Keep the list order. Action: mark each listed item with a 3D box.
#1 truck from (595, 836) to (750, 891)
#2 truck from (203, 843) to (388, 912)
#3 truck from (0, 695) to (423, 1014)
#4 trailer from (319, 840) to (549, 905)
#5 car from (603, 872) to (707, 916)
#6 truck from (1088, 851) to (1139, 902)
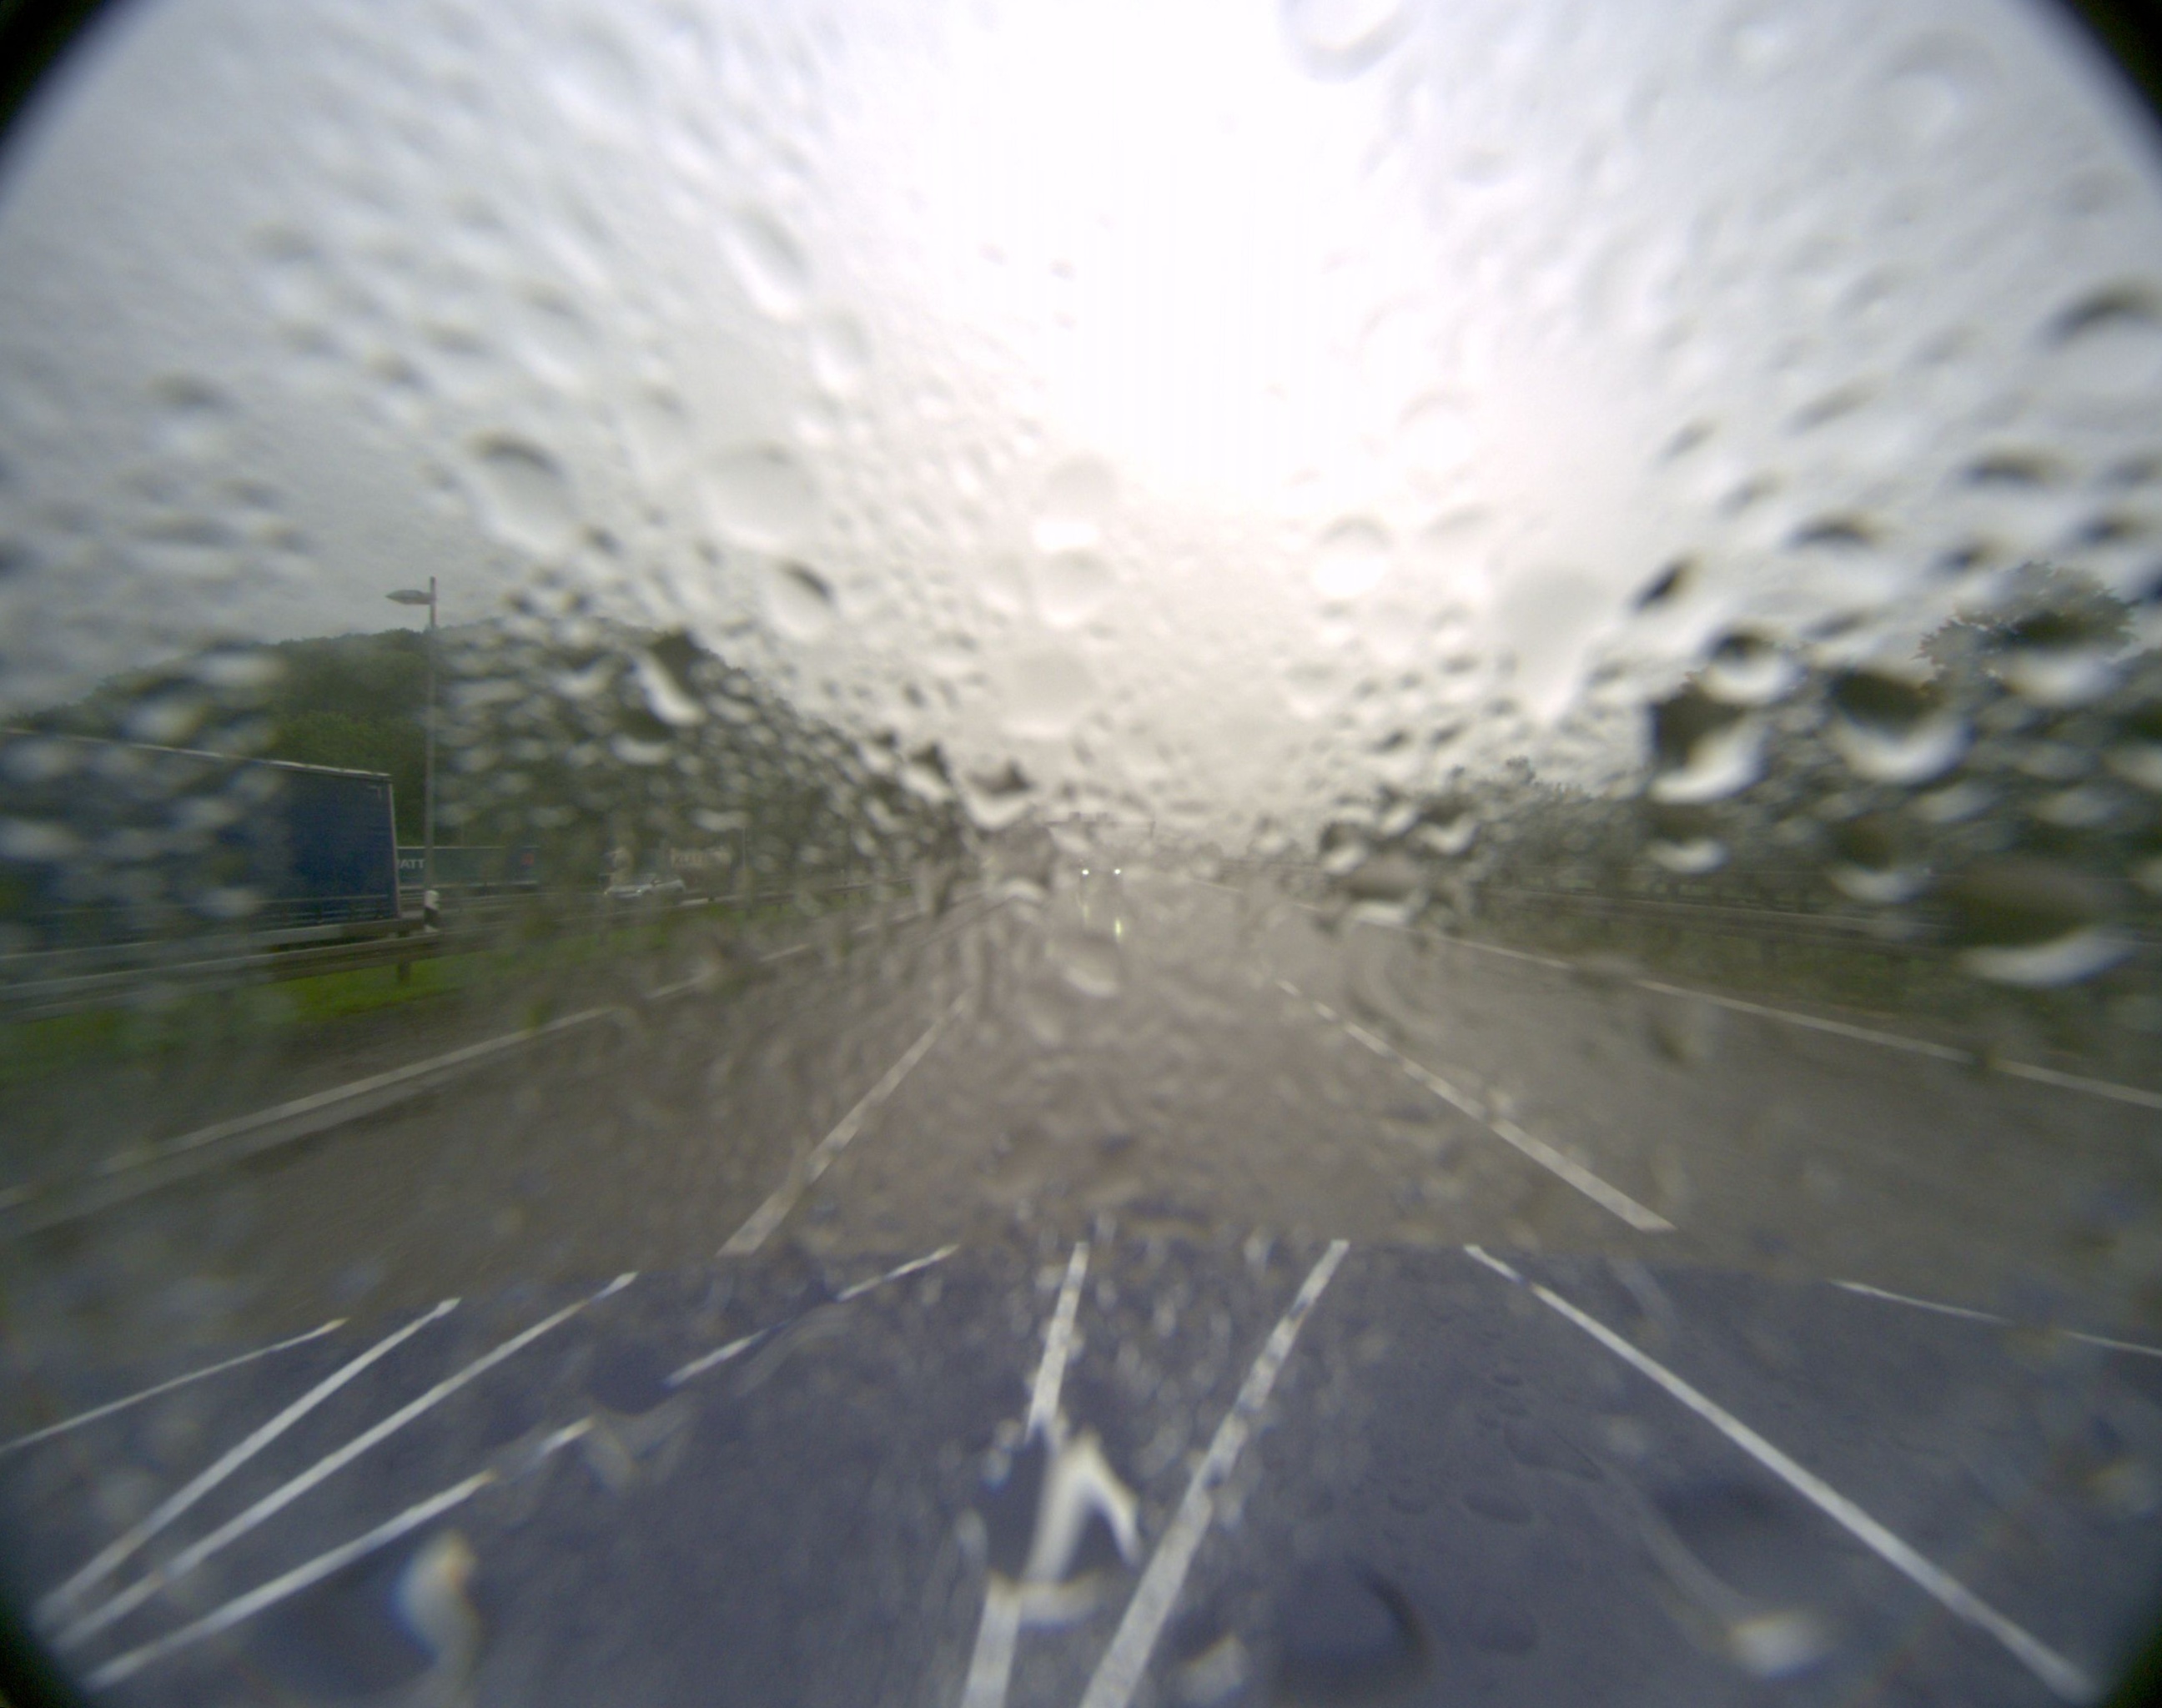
[{"bbox_3d":[-35.463,0.691,66.754,2.872,4.232,11.893,-2,1,33],"label":"truck"},{"bbox_3d":[-48.777,1.356,47.460,2.750,3.844,7.548,-2,1,35],"label":"truck"},{"bbox_3d":[-16.522,0.074,11.332,3.409,4.376,11.049,-3,0,1],"label":"truck"},{"bbox_3d":[-44.707,1.123,53.239,2.786,3.878,11.772,-2,1,35],"label":"trailer"},{"bbox_3d":[-20.809,1.905,37.486,1.999,1.740,5.661,-2,1,-2],"label":"car"},{"bbox_3d":[1.312,0.871,33.642,1.998,2.002,7.575,-1,0,1],"label":"truck"}]
